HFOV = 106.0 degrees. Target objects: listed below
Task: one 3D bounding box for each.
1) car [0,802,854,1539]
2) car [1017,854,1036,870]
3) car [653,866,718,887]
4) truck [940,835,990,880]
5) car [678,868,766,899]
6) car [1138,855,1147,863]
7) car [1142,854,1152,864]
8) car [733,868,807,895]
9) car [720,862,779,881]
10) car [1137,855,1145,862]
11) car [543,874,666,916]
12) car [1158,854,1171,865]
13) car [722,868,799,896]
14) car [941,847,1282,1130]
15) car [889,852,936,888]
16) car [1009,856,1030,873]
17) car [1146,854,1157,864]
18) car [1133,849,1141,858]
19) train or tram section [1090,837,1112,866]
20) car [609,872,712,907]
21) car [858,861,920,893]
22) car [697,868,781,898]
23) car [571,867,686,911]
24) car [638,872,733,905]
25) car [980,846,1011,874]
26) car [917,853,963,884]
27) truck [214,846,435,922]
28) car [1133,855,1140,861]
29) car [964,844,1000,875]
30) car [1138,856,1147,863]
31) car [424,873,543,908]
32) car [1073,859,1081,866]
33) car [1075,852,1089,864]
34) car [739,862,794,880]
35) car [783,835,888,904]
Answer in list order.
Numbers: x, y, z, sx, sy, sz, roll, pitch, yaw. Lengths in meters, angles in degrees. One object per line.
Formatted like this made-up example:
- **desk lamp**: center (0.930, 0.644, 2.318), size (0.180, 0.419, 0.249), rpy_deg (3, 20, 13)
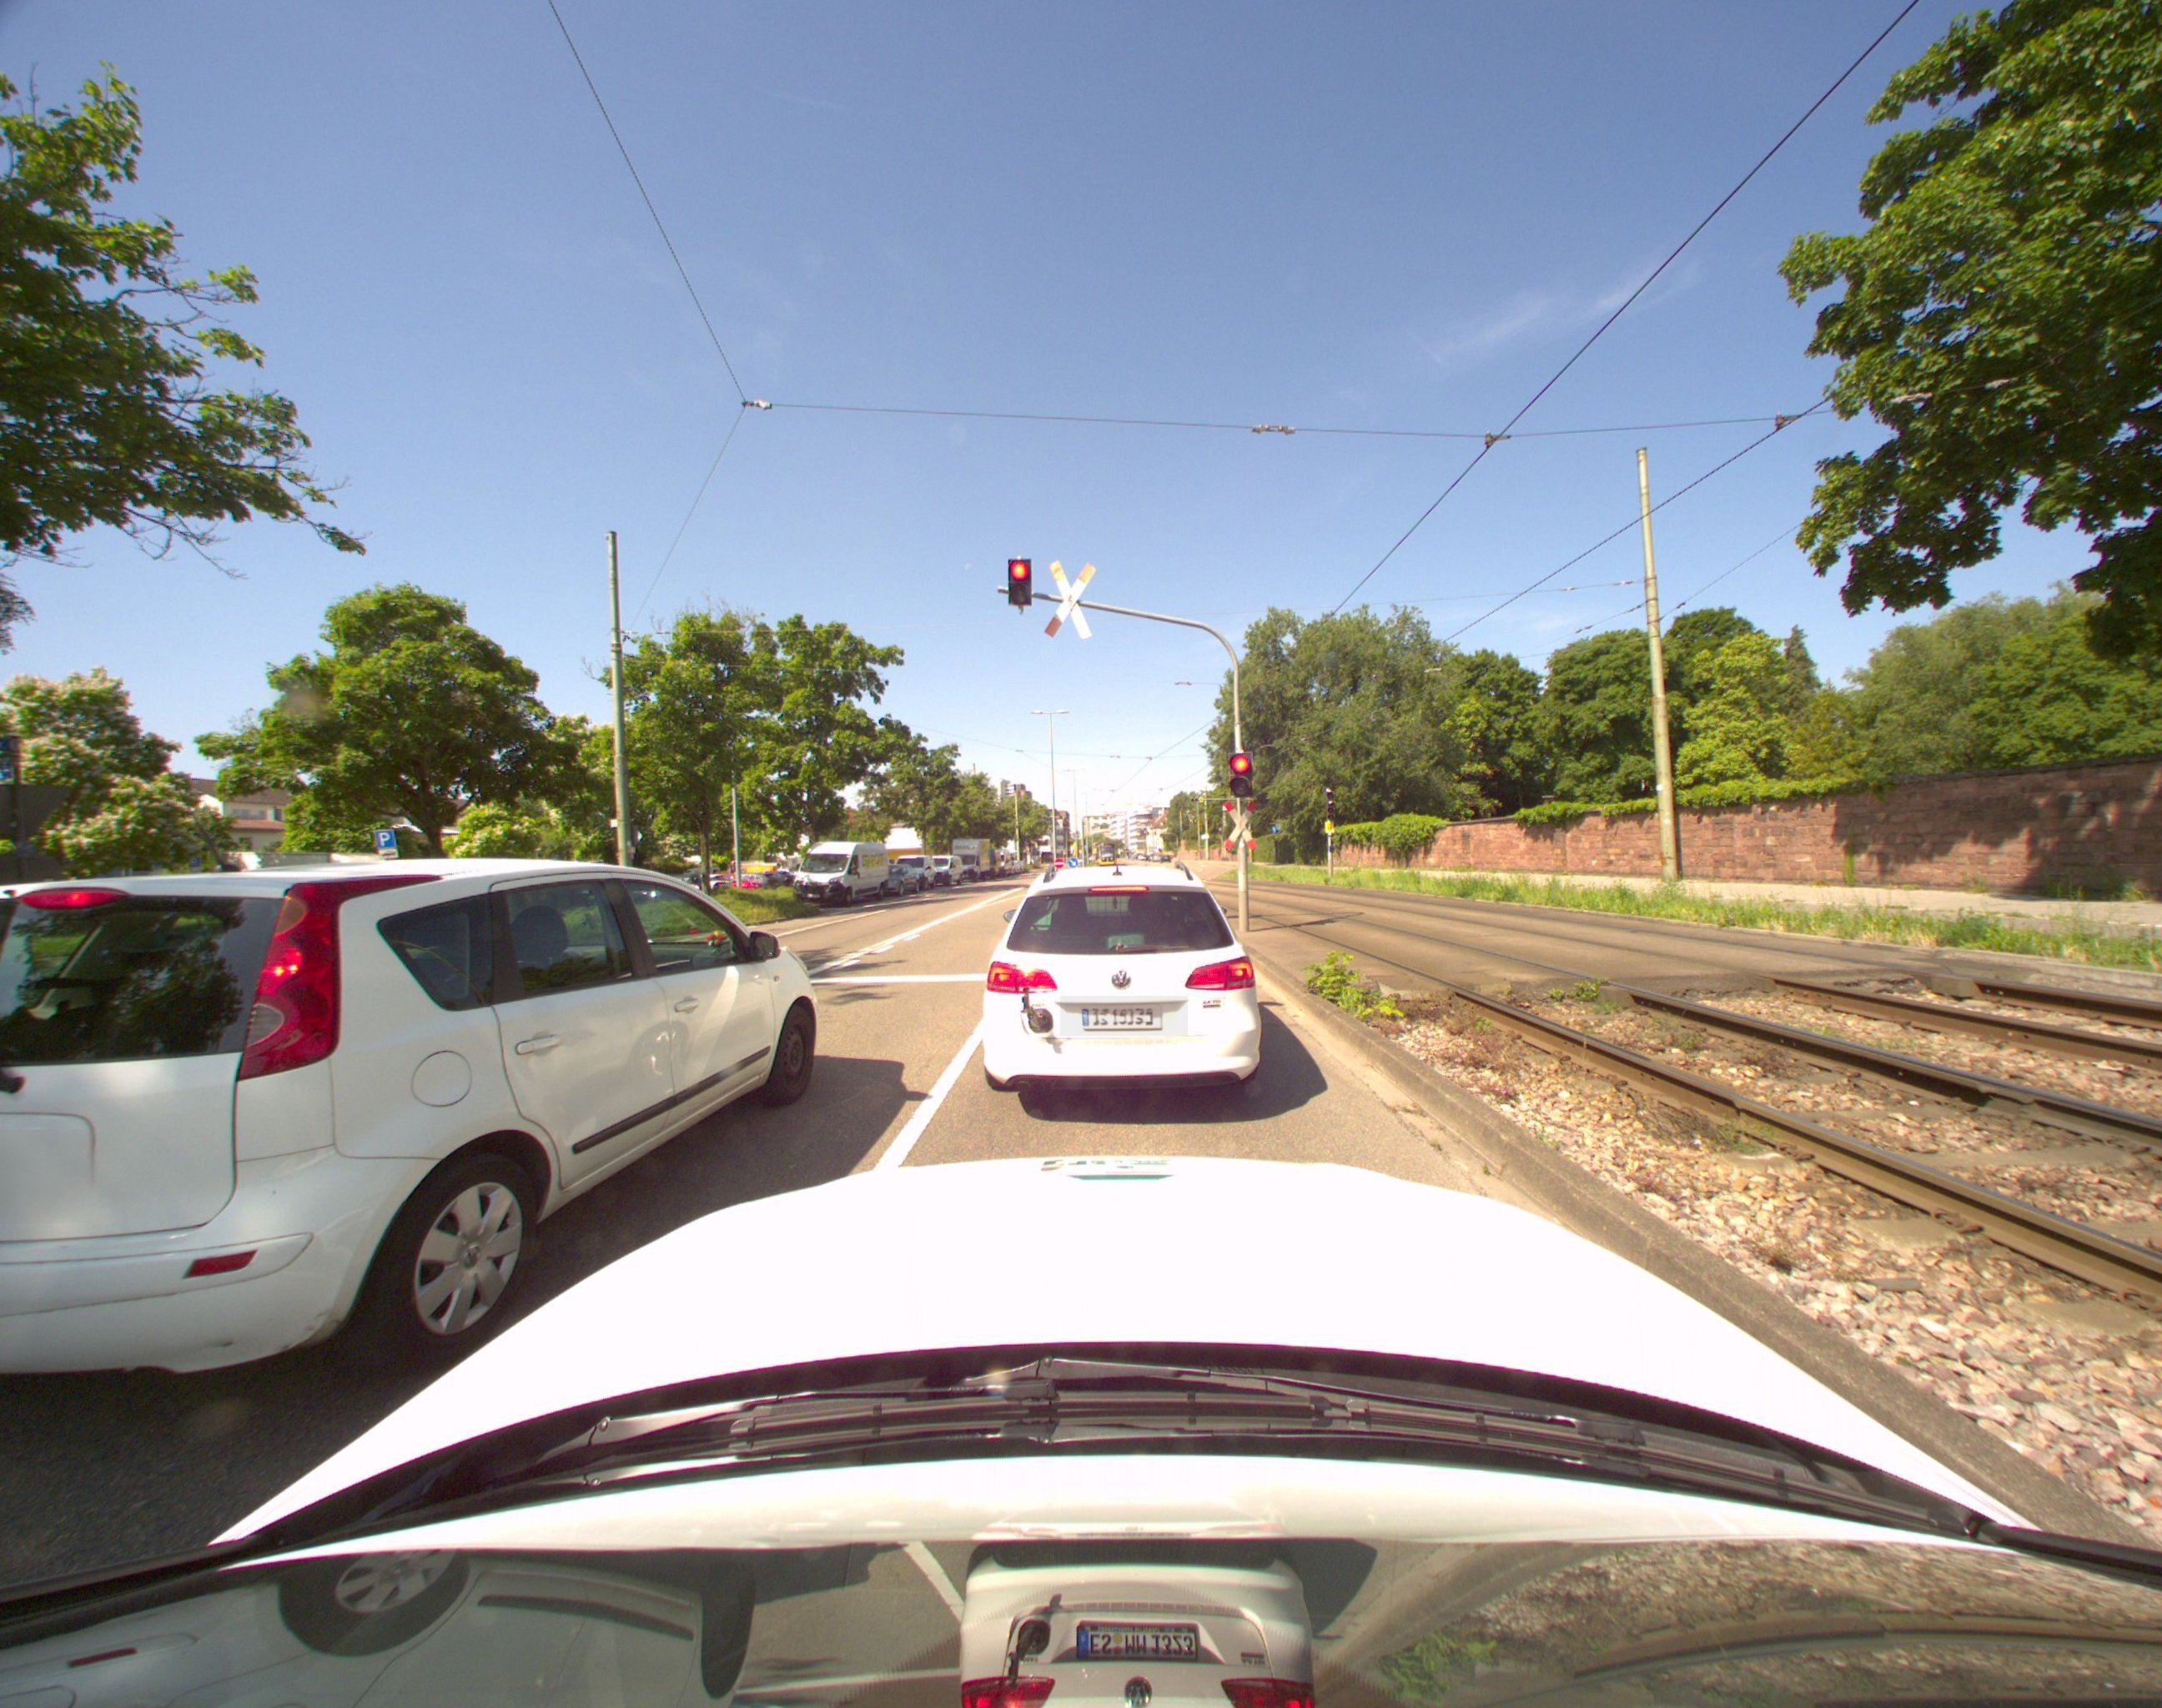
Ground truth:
- **car**: center (-2.660, 0.677, 4.002), size (1.656, 1.547, 4.548), rpy_deg (-1, 0, 2)
- **car**: center (-6.582, 0.924, 98.968), size (1.857, 1.868, 5.415), rpy_deg (0, 0, 1)
- **car**: center (-35.350, 2.030, 72.960), size (4.780, 1.787, 2.062), rpy_deg (0, -1, -3)
- **truck**: center (-8.556, 0.223, 60.716), size (2.411, 3.150, 7.001), rpy_deg (0, 0, 2)
- **car**: center (-19.648, 1.608, 44.741), size (3.977, 1.415, 1.729), rpy_deg (-4, -1, -3)
- **car**: center (14.058, 1.094, 185.569), size (1.857, 1.868, 5.063), rpy_deg (0, 0, 1)
- **car**: center (13.697, 1.005, 168.921), size (1.857, 1.868, 5.063), rpy_deg (0, 0, 1)
- **car**: center (-19.913, 1.740, 52.197), size (3.977, 1.415, 1.729), rpy_deg (-4, -1, -3)
- **car**: center (-31.628, 1.646, 77.856), size (4.780, 1.787, 2.062), rpy_deg (0, -1, -3)
- **car**: center (16.583, 1.144, 225.442), size (1.857, 1.868, 5.063), rpy_deg (0, 0, 1)
- **car**: center (-19.761, 1.673, 33.871), size (3.977, 1.415, 1.729), rpy_deg (-4, -1, -3)
- **car**: center (13.988, 0.866, 136.932), size (1.857, 1.868, 5.063), rpy_deg (0, 0, 1)
- **car**: center (-19.579, 1.699, 49.891), size (3.977, 1.415, 1.729), rpy_deg (-4, -1, -3)
- **car**: center (0.220, 0.712, 6.344), size (1.756, 1.430, 4.002), rpy_deg (-3, 0, 2)
- **car**: center (-9.372, 0.840, 45.638), size (1.860, 1.868, 5.068), rpy_deg (0, 0, -4)
- **car**: center (-6.953, 1.121, 92.055), size (1.857, 1.868, 5.415), rpy_deg (0, 0, 1)
- **car**: center (13.259, 0.986, 153.331), size (1.857, 1.868, 5.063), rpy_deg (0, 0, 1)
- **car**: center (18.068, -0.134, 262.398), size (2.049, 2.759, 5.632), rpy_deg (0, 0, 1)
- **train or tram section**: center (3.007, -0.384, 120.941), size (2.860, 3.855, 12.396), rpy_deg (-3, 0, 2)
- **car**: center (-20.397, 1.699, 39.613), size (3.977, 1.415, 1.729), rpy_deg (-4, -1, -3)
- **car**: center (-9.134, 1.072, 39.127), size (1.857, 1.415, 4.281), rpy_deg (0, 0, 1)
- **car**: center (-19.721, 1.649, 47.075), size (3.977, 1.415, 1.729), rpy_deg (-4, -1, -3)
- **car**: center (-20.015, 1.530, 36.145), size (3.977, 1.610, 1.729), rpy_deg (-4, -1, -3)
- **car**: center (-20.436, 1.762, 42.222), size (3.977, 1.415, 1.729), rpy_deg (-4, -1, -3)
- **car**: center (-7.927, 0.514, 76.146), size (2.114, 2.516, 5.737), rpy_deg (0, 0, 2)
- **car**: center (-8.990, 0.888, 52.294), size (1.857, 1.868, 5.415), rpy_deg (0, 0, 1)
- **truck**: center (-32.521, 1.256, 35.198), size (6.979, 3.110, 2.677), rpy_deg (0, 0, 0)
- **car**: center (16.247, 1.149, 238.913), size (1.857, 1.868, 5.063), rpy_deg (0, 0, 1)
- **car**: center (-8.292, 0.466, 68.714), size (2.114, 2.516, 5.737), rpy_deg (0, 0, 2)
- **car**: center (15.735, 1.387, 209.031), size (1.857, 1.868, 5.063), rpy_deg (0, 0, 1)
- **car**: center (-31.878, 1.933, 43.569), size (4.780, 1.787, 2.062), rpy_deg (0, -1, -3)
- **car**: center (-1.024, 2.110, 207.473), size (1.756, 1.896, 4.916), rpy_deg (0, 0, 2)
- **car**: center (0.148, 0.551, 112.076), size (1.698, 1.473, 4.593), rpy_deg (-3, 0, 3)
- **car**: center (-31.940, 1.680, 82.770), size (4.780, 1.787, 2.062), rpy_deg (0, -1, -3)
- **car**: center (-9.671, 0.567, 32.698), size (2.114, 2.516, 5.822), rpy_deg (0, 0, 3)
